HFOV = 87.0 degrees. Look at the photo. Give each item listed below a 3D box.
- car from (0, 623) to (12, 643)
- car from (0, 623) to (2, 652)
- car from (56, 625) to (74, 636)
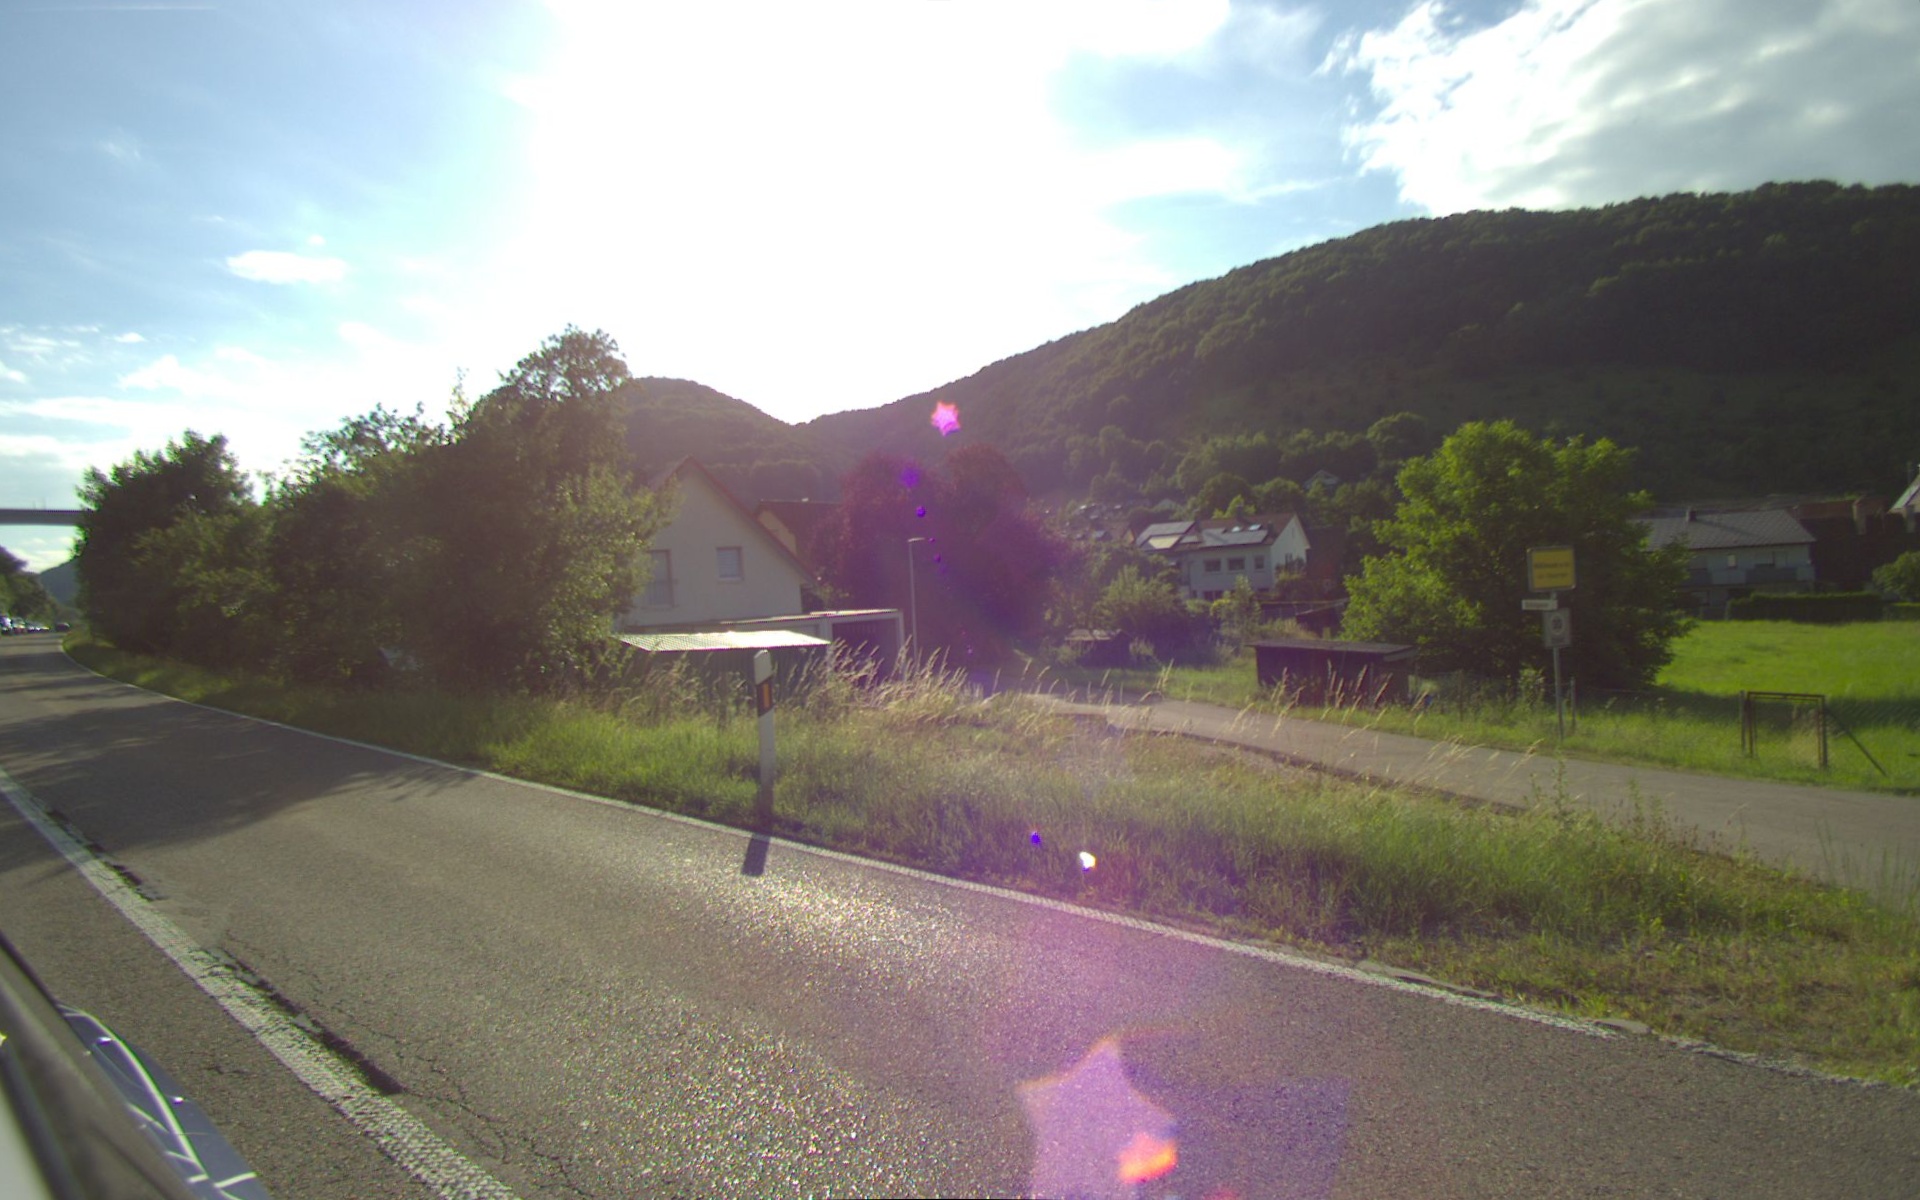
[{"bbox_3d":[-79.480,2.743,83.403,1.792,1.630,4.005,1,-2,-41],"label":"car"},{"bbox_3d":[-52.741,2.026,54.404,1.815,1.564,4.181,1,-2,-44],"label":"car"},{"bbox_3d":[-132.313,4.460,149.600,1.792,1.630,3.809,1,-2,-43],"label":"car"}]
